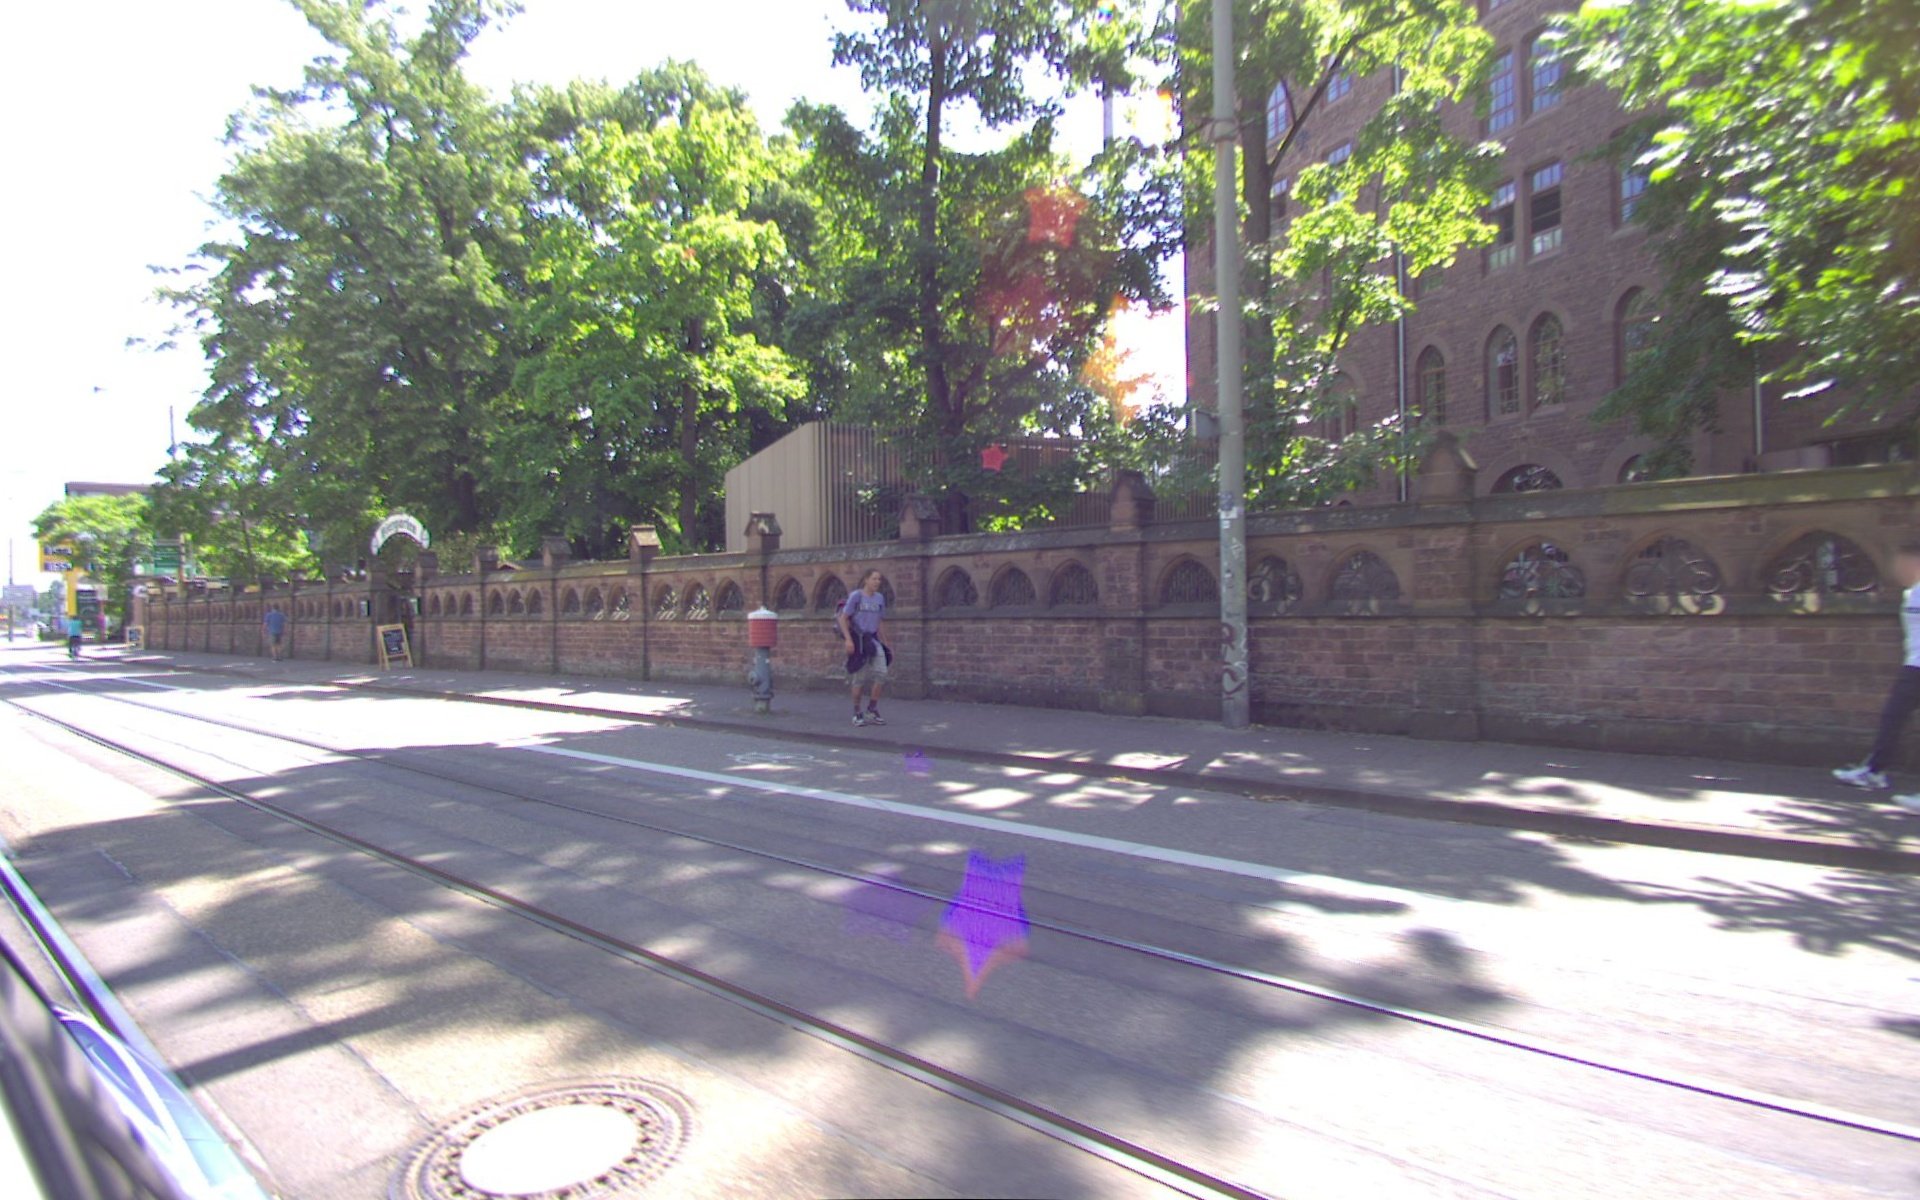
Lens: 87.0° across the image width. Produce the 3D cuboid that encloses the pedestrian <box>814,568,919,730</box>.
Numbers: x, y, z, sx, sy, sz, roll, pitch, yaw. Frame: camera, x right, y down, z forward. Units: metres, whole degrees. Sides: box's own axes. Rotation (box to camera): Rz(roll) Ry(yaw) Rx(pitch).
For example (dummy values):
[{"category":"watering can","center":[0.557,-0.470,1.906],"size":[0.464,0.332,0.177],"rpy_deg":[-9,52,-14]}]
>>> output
[{"category":"pedestrian","center":[-1.105,0.550,11.938],"size":[0.919,1.805,0.714],"rpy_deg":[-2,2,41]}]

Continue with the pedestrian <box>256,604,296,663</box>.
[{"category":"pedestrian","center":[-21.307,1.035,31.537],"size":[0.919,1.761,0.741],"rpy_deg":[-2,1,41]}]

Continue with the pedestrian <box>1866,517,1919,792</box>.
[{"category":"pedestrian","center":[6.626,0.335,6.673],"size":[0.919,1.789,0.670],"rpy_deg":[-2,2,41]}]

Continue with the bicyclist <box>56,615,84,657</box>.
[{"category":"bicyclist","center":[-34.690,1.401,39.445],"size":[0.919,1.637,0.656],"rpy_deg":[-2,-3,41]}]

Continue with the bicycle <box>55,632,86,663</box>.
[{"category":"bicycle","center":[-34.596,1.835,39.341],"size":[1.895,1.172,0.652],"rpy_deg":[-2,-3,41]}]
